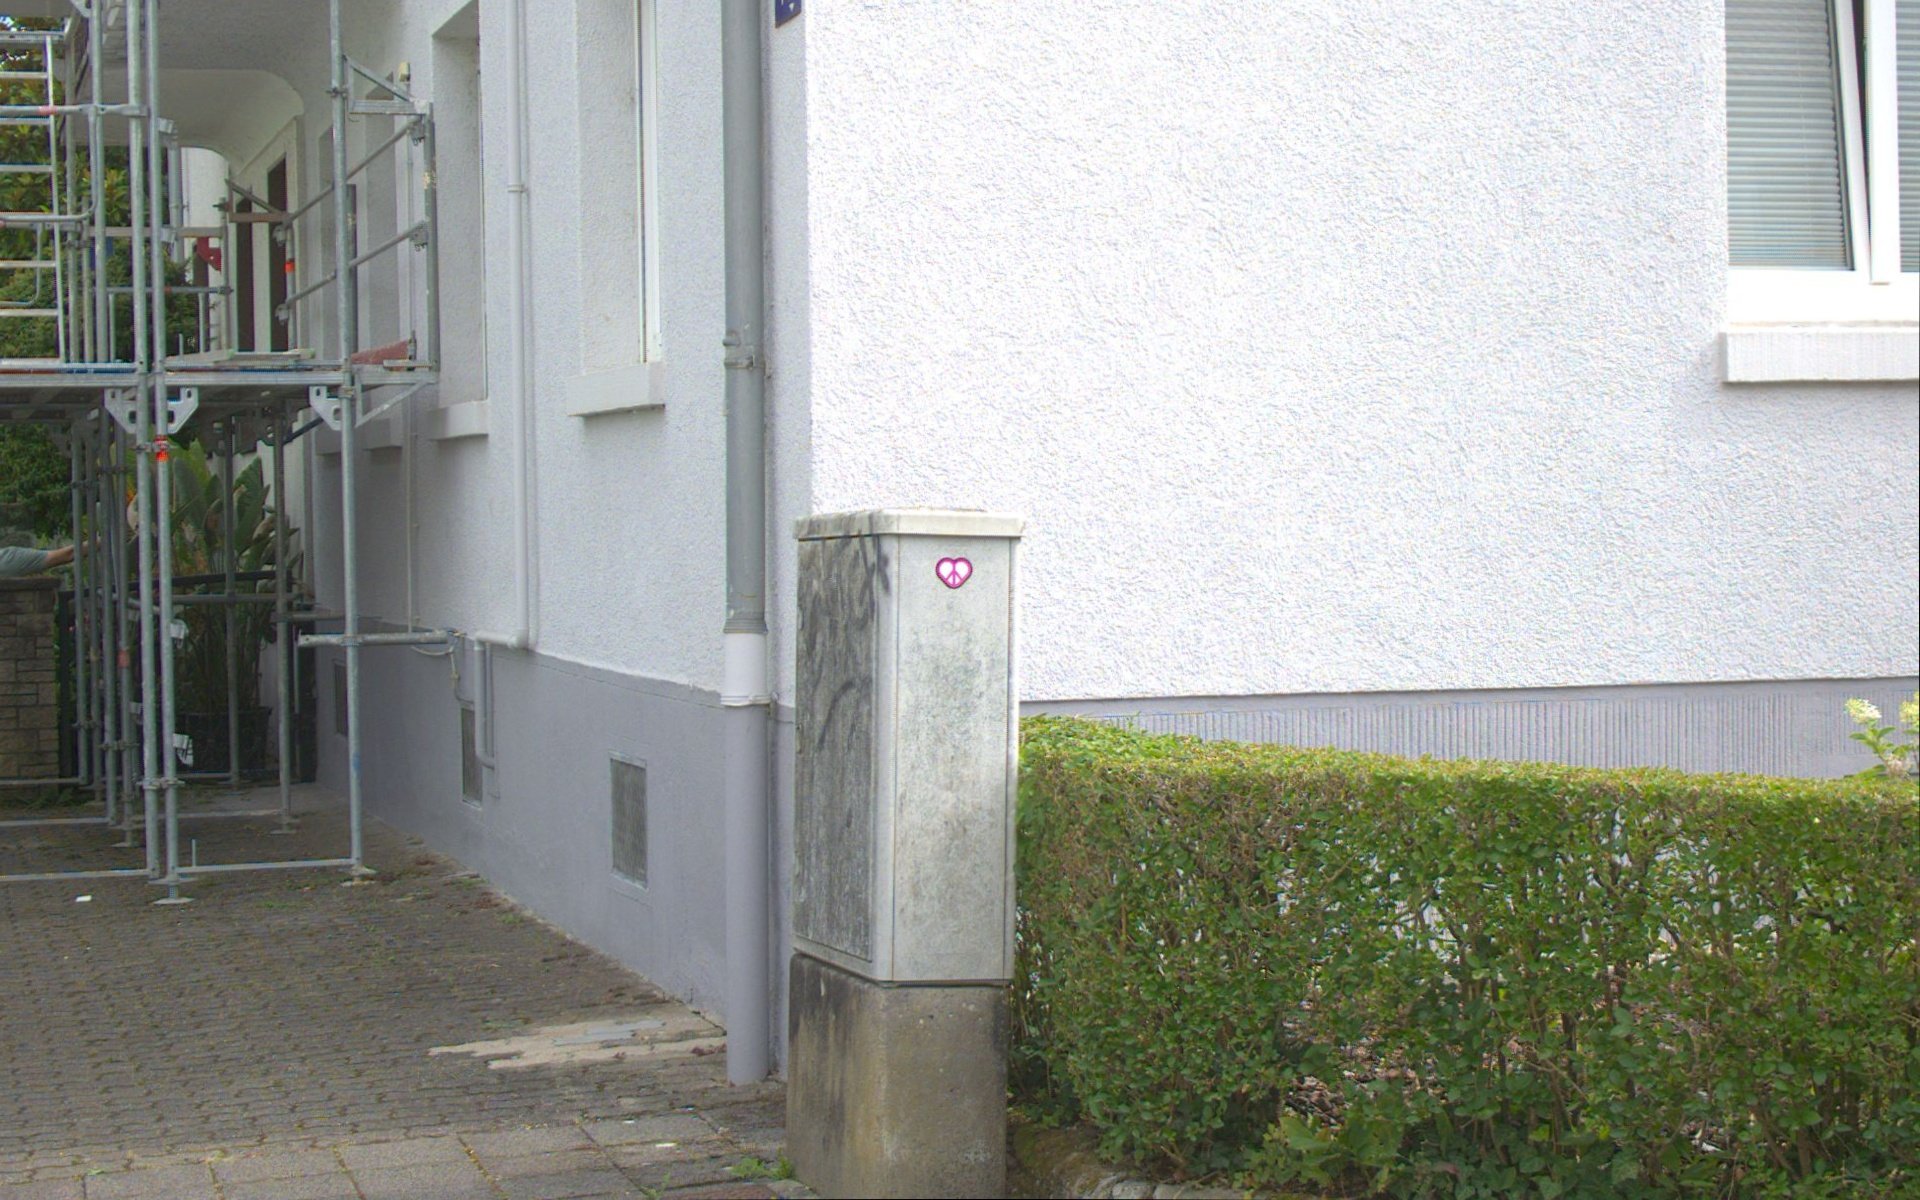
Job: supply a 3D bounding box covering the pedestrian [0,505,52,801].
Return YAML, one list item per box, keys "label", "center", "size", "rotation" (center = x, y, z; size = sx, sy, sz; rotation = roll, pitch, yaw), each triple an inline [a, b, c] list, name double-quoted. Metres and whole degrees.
- label: "pedestrian"
  center: [-5.415, 0.295, 19.211]
  size: [0.601, 1.623, 0.625]
  rotation: [-2, 0, -16]
